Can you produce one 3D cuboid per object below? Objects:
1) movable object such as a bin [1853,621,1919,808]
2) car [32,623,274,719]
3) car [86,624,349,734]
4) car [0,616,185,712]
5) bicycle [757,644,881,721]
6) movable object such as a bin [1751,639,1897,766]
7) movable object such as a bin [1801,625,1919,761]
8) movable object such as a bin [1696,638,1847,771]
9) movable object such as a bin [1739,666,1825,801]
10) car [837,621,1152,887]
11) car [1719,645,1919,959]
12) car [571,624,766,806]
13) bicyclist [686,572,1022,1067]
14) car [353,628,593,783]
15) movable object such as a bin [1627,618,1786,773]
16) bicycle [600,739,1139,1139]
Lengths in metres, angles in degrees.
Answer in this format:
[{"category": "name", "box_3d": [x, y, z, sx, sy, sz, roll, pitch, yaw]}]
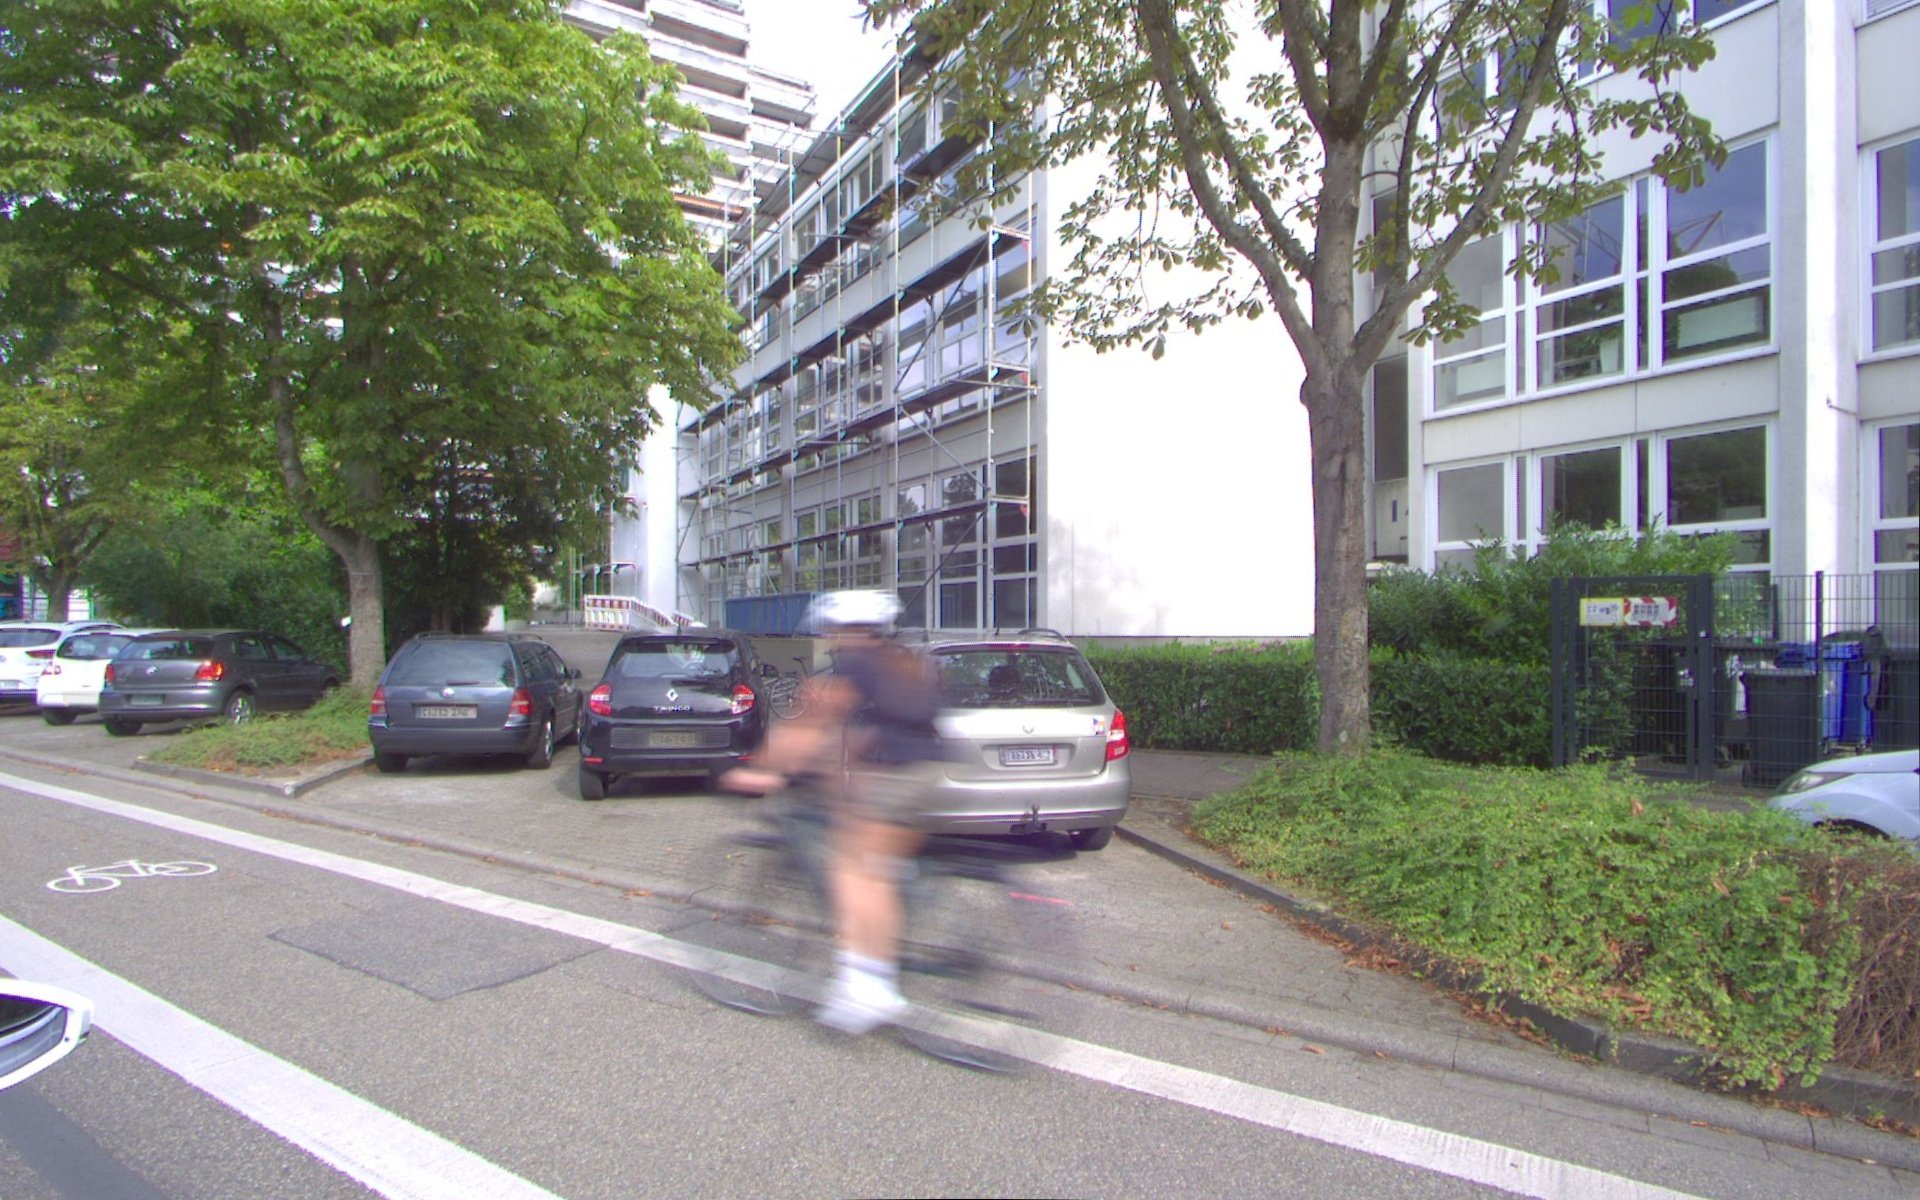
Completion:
[{"category": "movable object such as a bin", "box_3d": [8.516, 0.957, 8.445, 1.316, 1.527, 1.067, 0, -2, 34]}, {"category": "car", "box_3d": [-13.442, 1.131, 16.949, 1.530, 1.461, 3.447, 0, -1, -6]}, {"category": "car", "box_3d": [-11.006, 1.104, 15.176, 1.593, 1.461, 3.536, 0, -2, -6]}, {"category": "car", "box_3d": [-16.186, 1.109, 18.330, 1.530, 1.593, 3.447, 0, -1, -6]}, {"category": "bicycle", "box_3d": [-2.318, 1.340, 16.569, 1.943, 1.143, 0.536, -1, 0, -28]}, {"category": "movable object such as a bin", "box_3d": [10.110, 1.163, 11.733, 1.021, 1.385, 1.072, 2, -2, -33]}, {"category": "movable object such as a bin", "box_3d": [11.268, 1.107, 12.403, 1.021, 1.582, 1.072, 2, -2, -33]}, {"category": "movable object such as a bin", "box_3d": [9.127, 1.130, 11.274, 1.021, 1.385, 1.072, 2, -2, -33]}, {"category": "movable object such as a bin", "box_3d": [7.324, 1.162, 8.921, 0.566, 1.117, 0.647, 0, -2, 42]}, {"category": "car", "box_3d": [0.010, 0.965, 7.808, 1.610, 1.541, 3.738, 1, -2, -12]}, {"category": "car", "box_3d": [5.558, 0.941, 4.034, 1.611, 1.478, 3.825, 1, -2, -14]}, {"category": "car", "box_3d": [-2.881, 1.047, 10.470, 1.610, 1.541, 3.738, 1, -2, -12]}, {"category": "bicyclist", "box_3d": [-0.398, 0.716, 3.774, 1.094, 1.590, 0.637, 0, -1, 31]}, {"category": "car", "box_3d": [-5.397, 1.082, 11.583, 1.610, 1.477, 3.738, 1, -2, -12]}, {"category": "movable object such as a bin", "box_3d": [8.026, 0.987, 10.780, 1.105, 1.542, 1.072, 2, -2, -33]}, {"category": "bicycle", "box_3d": [-0.408, 1.119, 3.776, 2.041, 0.993, 0.637, 0, -1, 31]}]
